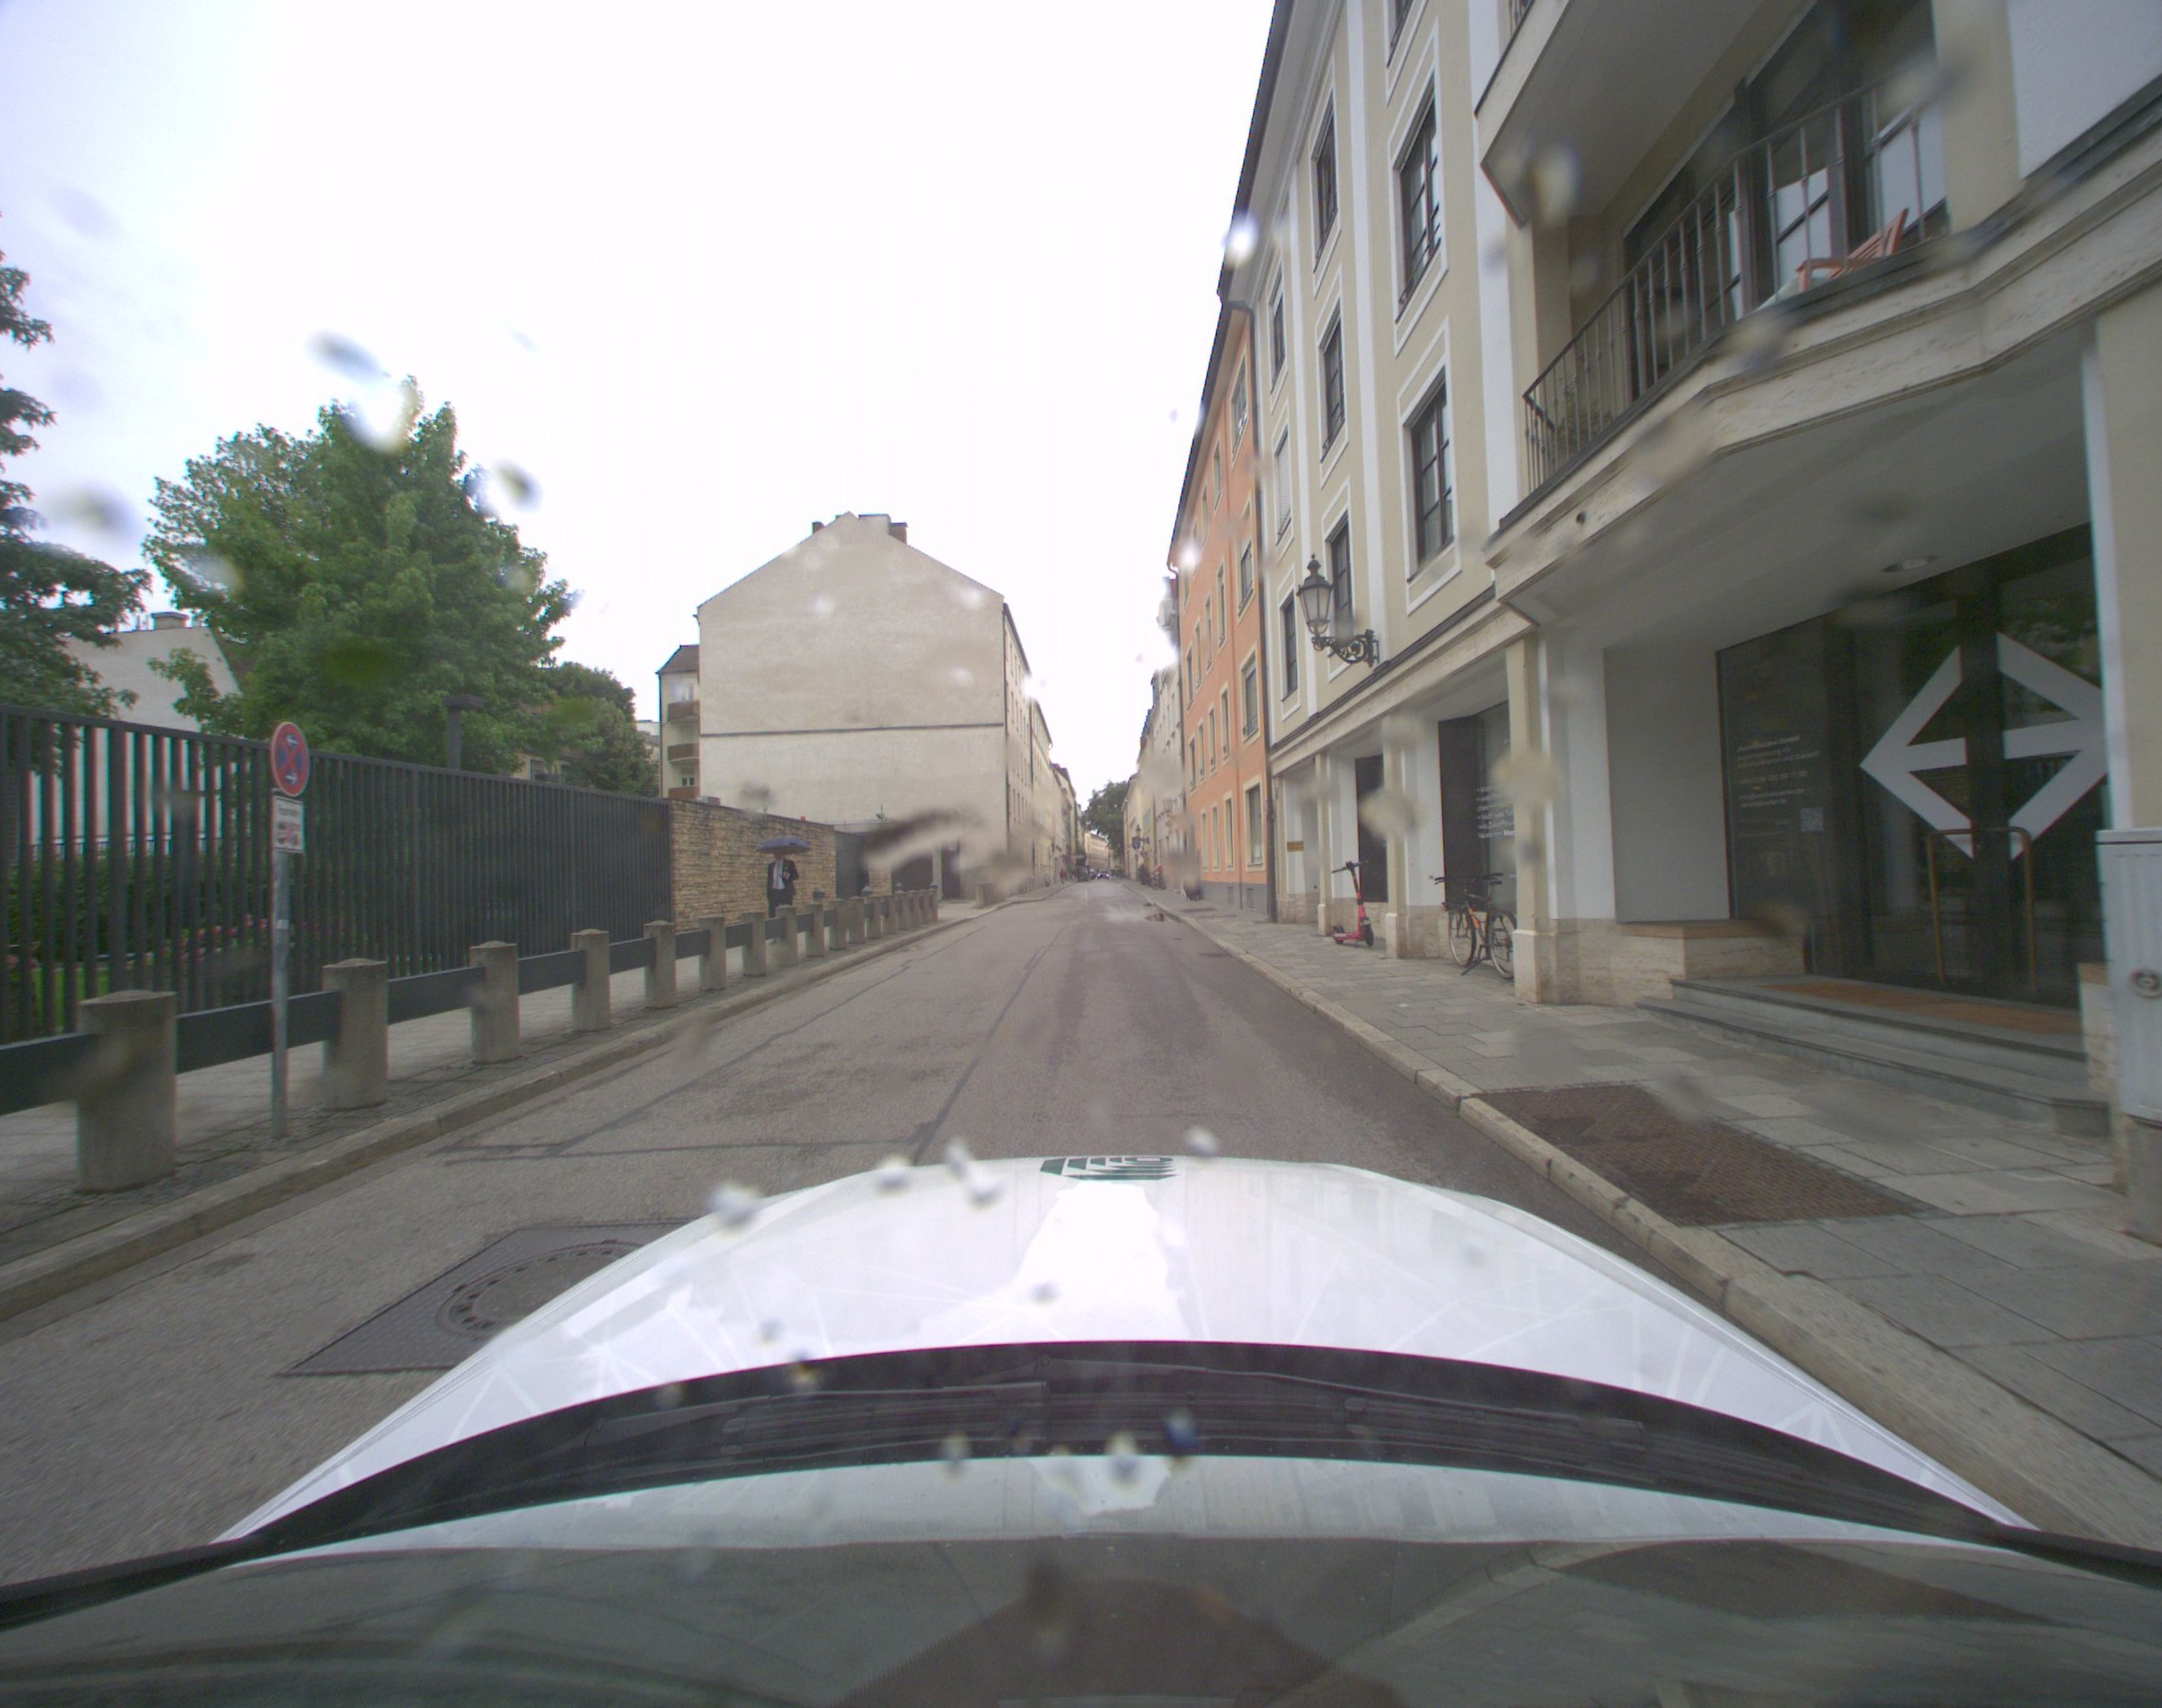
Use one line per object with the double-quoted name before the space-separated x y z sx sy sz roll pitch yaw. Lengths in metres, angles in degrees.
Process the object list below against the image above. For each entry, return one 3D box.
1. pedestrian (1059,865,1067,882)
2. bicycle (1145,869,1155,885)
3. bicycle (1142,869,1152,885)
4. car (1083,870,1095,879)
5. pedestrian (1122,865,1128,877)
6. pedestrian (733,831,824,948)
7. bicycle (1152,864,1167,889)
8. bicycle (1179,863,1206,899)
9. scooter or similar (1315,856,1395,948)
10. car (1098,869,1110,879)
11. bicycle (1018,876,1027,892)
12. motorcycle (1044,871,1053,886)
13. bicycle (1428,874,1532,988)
"pedestrian" -1.857 2.077 85.944 0.763 1.708 0.785 -2 -1 -1
"bicycle" 4.926 1.634 58.287 0.563 1.137 1.988 -4 -1 2
"bicycle" 4.881 1.688 60.356 0.563 1.137 1.685 -4 -1 2
"car" 1.305 3.244 130.324 1.771 1.467 3.666 -1 -1 4
"pedestrian" 6.580 2.528 120.977 0.877 1.802 1.046 -1 -1 2
"pedestrian" -5.726 0.655 15.496 1.218 2.104 1.117 -2 -1 3
"bicycle" 4.550 1.297 47.318 0.710 1.396 2.123 -4 -1 4
"bicycle" 4.129 0.981 30.379 0.676 1.240 2.384 -6 -1 3
"scooter or similar" 4.025 0.684 12.053 0.465 1.258 1.271 -4 0 -12
"car" 3.671 3.205 131.418 1.806 1.594 3.999 -2 -1 0
"bicycle" -3.486 1.783 48.308 0.318 0.944 1.575 1 -1 3
"motorcycle" -2.671 1.986 66.563 0.600 1.174 1.709 -1 -1 2
"bicycle" 4.245 0.766 8.806 0.461 0.994 2.085 -3 0 11
